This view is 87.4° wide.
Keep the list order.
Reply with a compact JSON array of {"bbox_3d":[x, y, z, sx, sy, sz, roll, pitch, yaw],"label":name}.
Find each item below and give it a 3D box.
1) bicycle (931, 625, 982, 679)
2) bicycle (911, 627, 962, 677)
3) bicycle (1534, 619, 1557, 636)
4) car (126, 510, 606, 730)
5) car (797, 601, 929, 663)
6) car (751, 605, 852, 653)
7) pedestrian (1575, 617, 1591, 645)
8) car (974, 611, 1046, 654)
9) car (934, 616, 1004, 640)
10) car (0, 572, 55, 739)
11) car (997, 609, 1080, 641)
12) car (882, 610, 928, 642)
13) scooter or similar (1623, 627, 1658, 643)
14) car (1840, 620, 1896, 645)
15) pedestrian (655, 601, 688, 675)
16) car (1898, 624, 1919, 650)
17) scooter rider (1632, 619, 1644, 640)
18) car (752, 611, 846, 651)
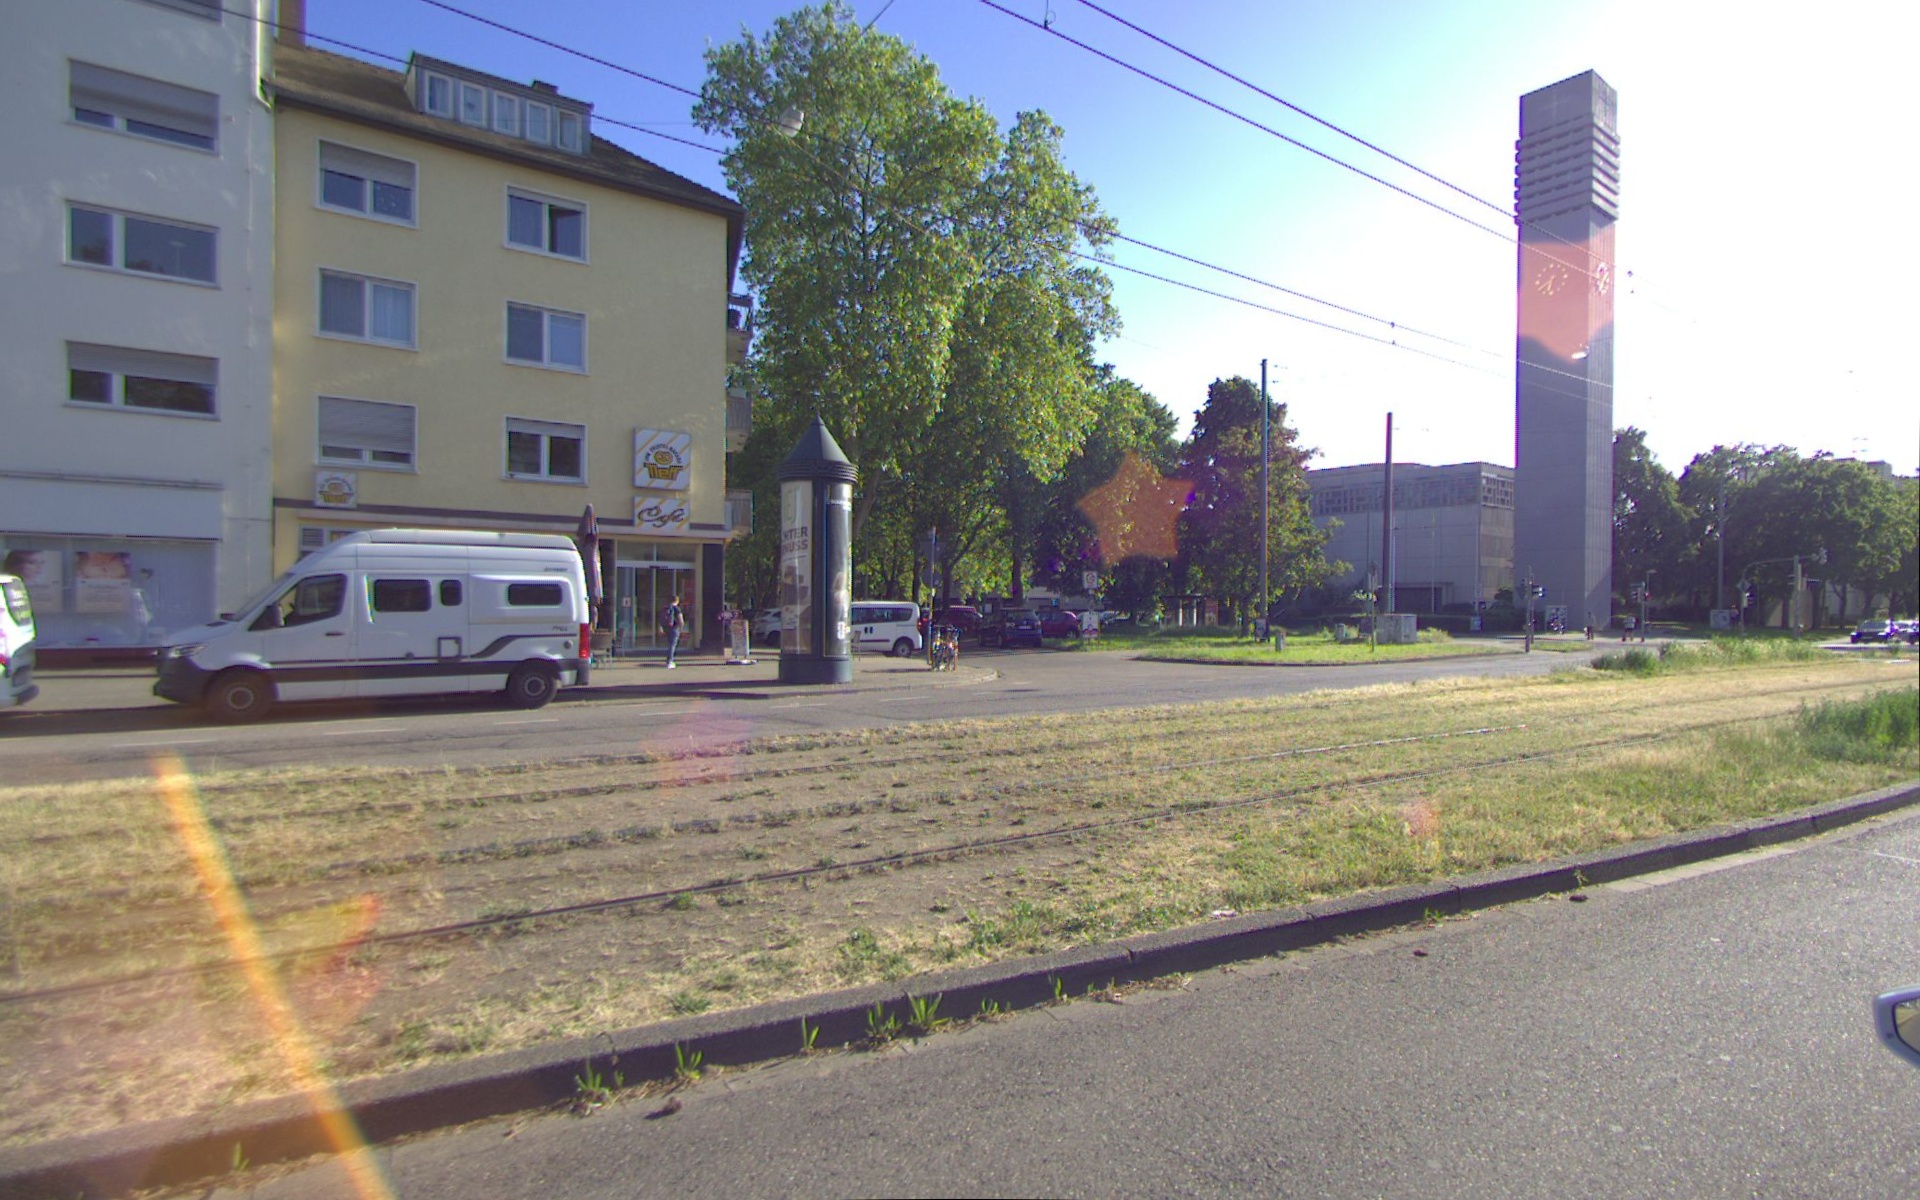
[{"bbox_3d":[-0.061,1.282,25.334,0.509,1.268,2.090,2,0,21],"label":"bicycle"},{"bbox_3d":[-0.572,1.295,25.528,0.509,1.199,2.090,2,0,21],"label":"bicycle"},{"bbox_3d":[39.649,1.859,67.983,1.662,1.060,0.489,1,2,-28],"label":"bicycle"},{"bbox_3d":[-9.024,0.302,15.871,6.164,2.907,2.019,1,0,-35],"label":"car"},{"bbox_3d":[-3.222,1.053,33.222,3.940,1.851,1.990,1,1,-21],"label":"car"},{"bbox_3d":[-6.630,1.242,41.933,3.934,1.867,1.994,2,-3,-15],"label":"car"},{"bbox_3d":[38.794,1.921,62.524,0.736,1.689,0.441,1,2,-25],"label":"pedestrian"},{"bbox_3d":[1.980,1.281,40.946,1.721,1.622,3.987,0,-1,-16],"label":"car"},{"bbox_3d":[0.536,1.658,60.284,3.937,1.400,1.579,0,-1,-19],"label":"car"},{"bbox_3d":[-14.508,0.638,11.934,5.315,2.048,2.019,1,2,-35],"label":"car"},{"bbox_3d":[3.761,1.189,48.267,3.590,1.399,1.639,2,1,-18],"label":"car"},{"bbox_3d":[-3.095,1.385,55.592,1.721,1.706,3.987,0,-1,-16],"label":"car"},{"bbox_3d":[41.231,2.117,60.878,1.714,0.911,0.561,0,-1,40],"label":"scooter or similar"},{"bbox_3d":[58.410,2.060,64.608,4.317,1.553,1.795,1,-1,-35],"label":"car"},{"bbox_3d":[-6.932,0.906,24.118,0.604,1.745,0.564,1,2,-30],"label":"pedestrian"},{"bbox_3d":[60.186,2.279,62.593,4.317,1.553,1.676,1,-1,-35],"label":"car"},{"bbox_3d":[41.136,1.765,60.933,0.519,1.234,0.585,3,2,40],"label":"scooter rider"},{"bbox_3d":[-7.279,1.391,45.228,3.994,1.687,1.994,2,-2,-15],"label":"car"}]
